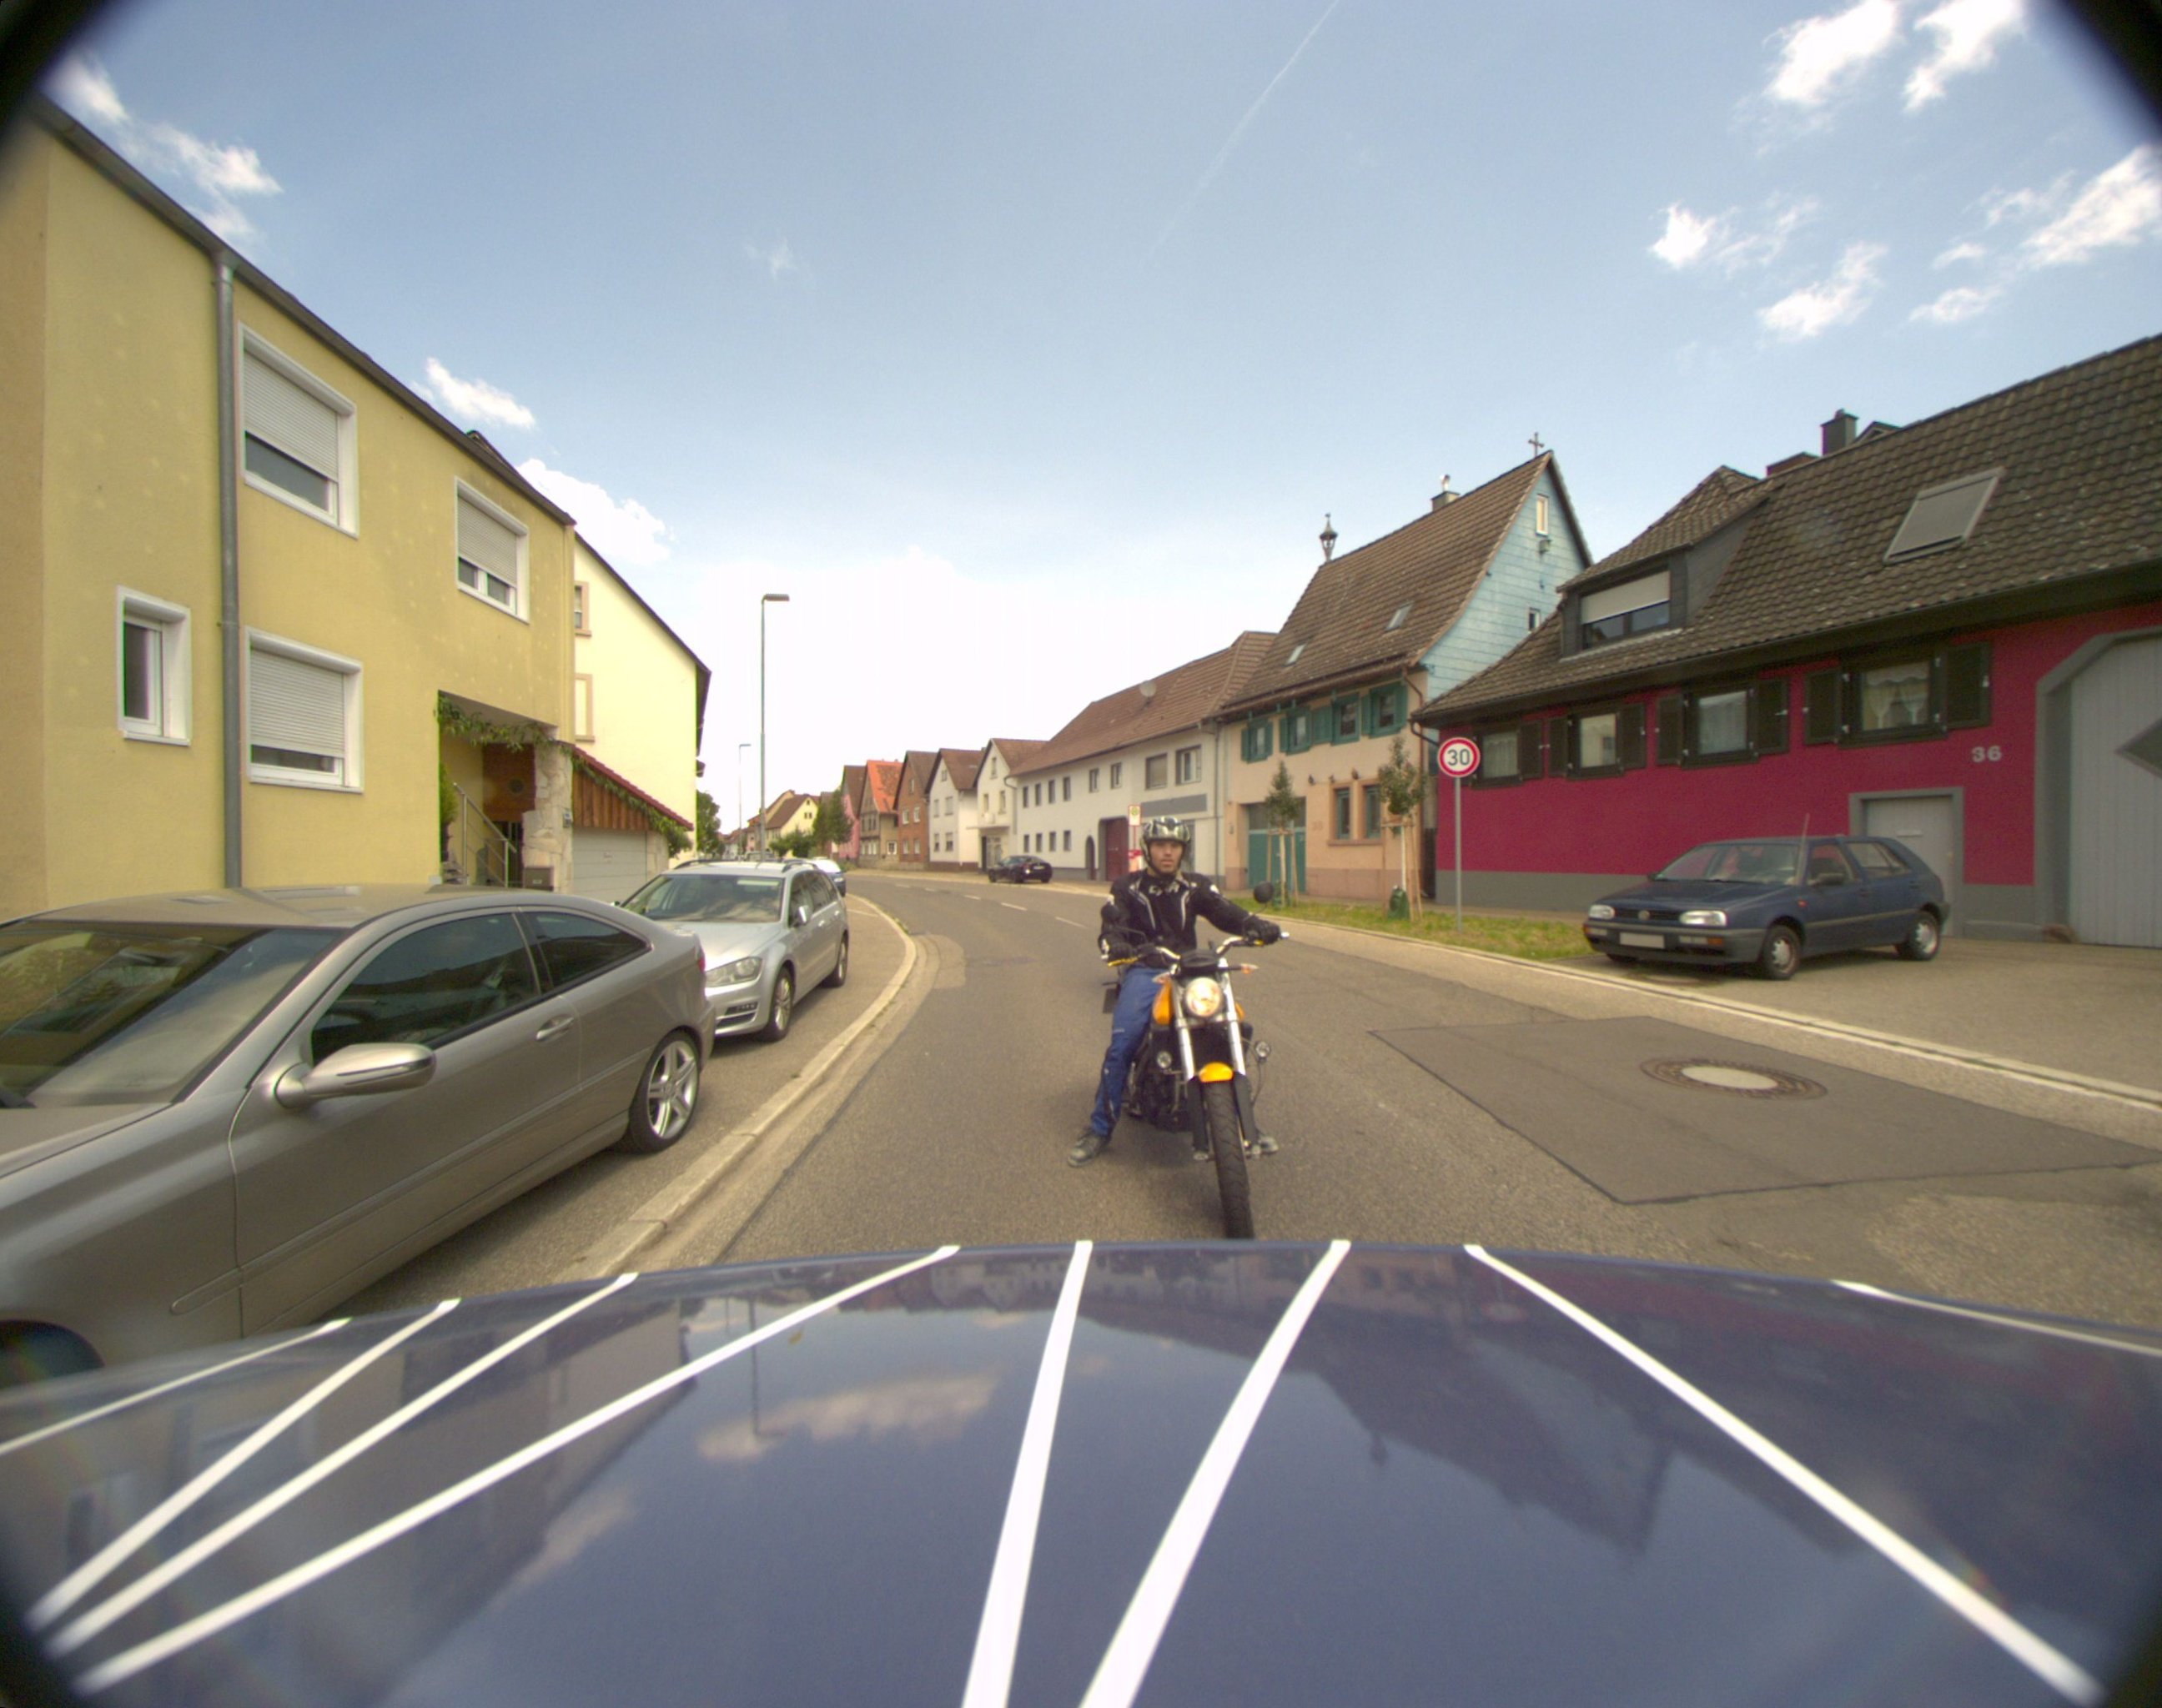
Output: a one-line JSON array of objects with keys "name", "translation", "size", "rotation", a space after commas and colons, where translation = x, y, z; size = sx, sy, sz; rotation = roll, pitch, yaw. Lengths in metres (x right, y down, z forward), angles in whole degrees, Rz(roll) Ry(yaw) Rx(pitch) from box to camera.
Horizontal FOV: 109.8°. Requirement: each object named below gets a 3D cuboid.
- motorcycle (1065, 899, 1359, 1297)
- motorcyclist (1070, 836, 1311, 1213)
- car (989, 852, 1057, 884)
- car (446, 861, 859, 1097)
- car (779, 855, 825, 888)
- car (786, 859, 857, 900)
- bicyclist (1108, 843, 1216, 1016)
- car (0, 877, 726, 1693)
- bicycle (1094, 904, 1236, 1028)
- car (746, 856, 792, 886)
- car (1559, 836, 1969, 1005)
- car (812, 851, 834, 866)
[{"name": "motorcycle", "translation": [0.481, 0.930, 3.741], "size": [0.985, 1.234, 2.103], "rotation": [-3, 1, 1]}, {"name": "motorcyclist", "translation": [0.478, 0.727, 3.636], "size": [1.000, 1.591, 0.799], "rotation": [-1, 2, 1]}, {"name": "car", "translation": [-2.960, 0.666, 37.831], "size": [1.812, 1.412, 4.541], "rotation": [-2, 0, -26]}, {"name": "car", "translation": [-3.543, 0.897, 7.371], "size": [1.890, 1.521, 4.333], "rotation": [2, 0, -6]}, {"name": "car", "translation": [-13.803, 0.881, 37.526], "size": [1.776, 1.520, 3.993], "rotation": [-1, -1, -25]}, {"name": "car", "translation": [-10.248, 0.954, 29.855], "size": [1.731, 1.378, 3.989], "rotation": [-1, 2, -32]}, {"name": "bicyclist", "translation": [0.829, 0.741, 7.936], "size": [0.910, 1.679, 0.760], "rotation": [-2, 2, -10]}, {"name": "car", "translation": [-3.032, 0.920, 2.424], "size": [1.775, 1.392, 4.423], "rotation": [2, 1, -1]}, {"name": "bicycle", "translation": [0.806, 1.094, 8.006], "size": [0.934, 1.005, 1.923], "rotation": [-2, 0, -11]}, {"name": "car", "translation": [-18.963, 0.997, 46.121], "size": [1.669, 1.638, 3.989], "rotation": [-3, 1, -35]}, {"name": "car", "translation": [7.588, 0.594, 8.475], "size": [3.983, 1.456, 1.718], "rotation": [-2, 1, -20]}, {"name": "car", "translation": [-27.503, 0.474, 80.975], "size": [1.687, 1.521, 3.491], "rotation": [-2, 2, -26]}]
